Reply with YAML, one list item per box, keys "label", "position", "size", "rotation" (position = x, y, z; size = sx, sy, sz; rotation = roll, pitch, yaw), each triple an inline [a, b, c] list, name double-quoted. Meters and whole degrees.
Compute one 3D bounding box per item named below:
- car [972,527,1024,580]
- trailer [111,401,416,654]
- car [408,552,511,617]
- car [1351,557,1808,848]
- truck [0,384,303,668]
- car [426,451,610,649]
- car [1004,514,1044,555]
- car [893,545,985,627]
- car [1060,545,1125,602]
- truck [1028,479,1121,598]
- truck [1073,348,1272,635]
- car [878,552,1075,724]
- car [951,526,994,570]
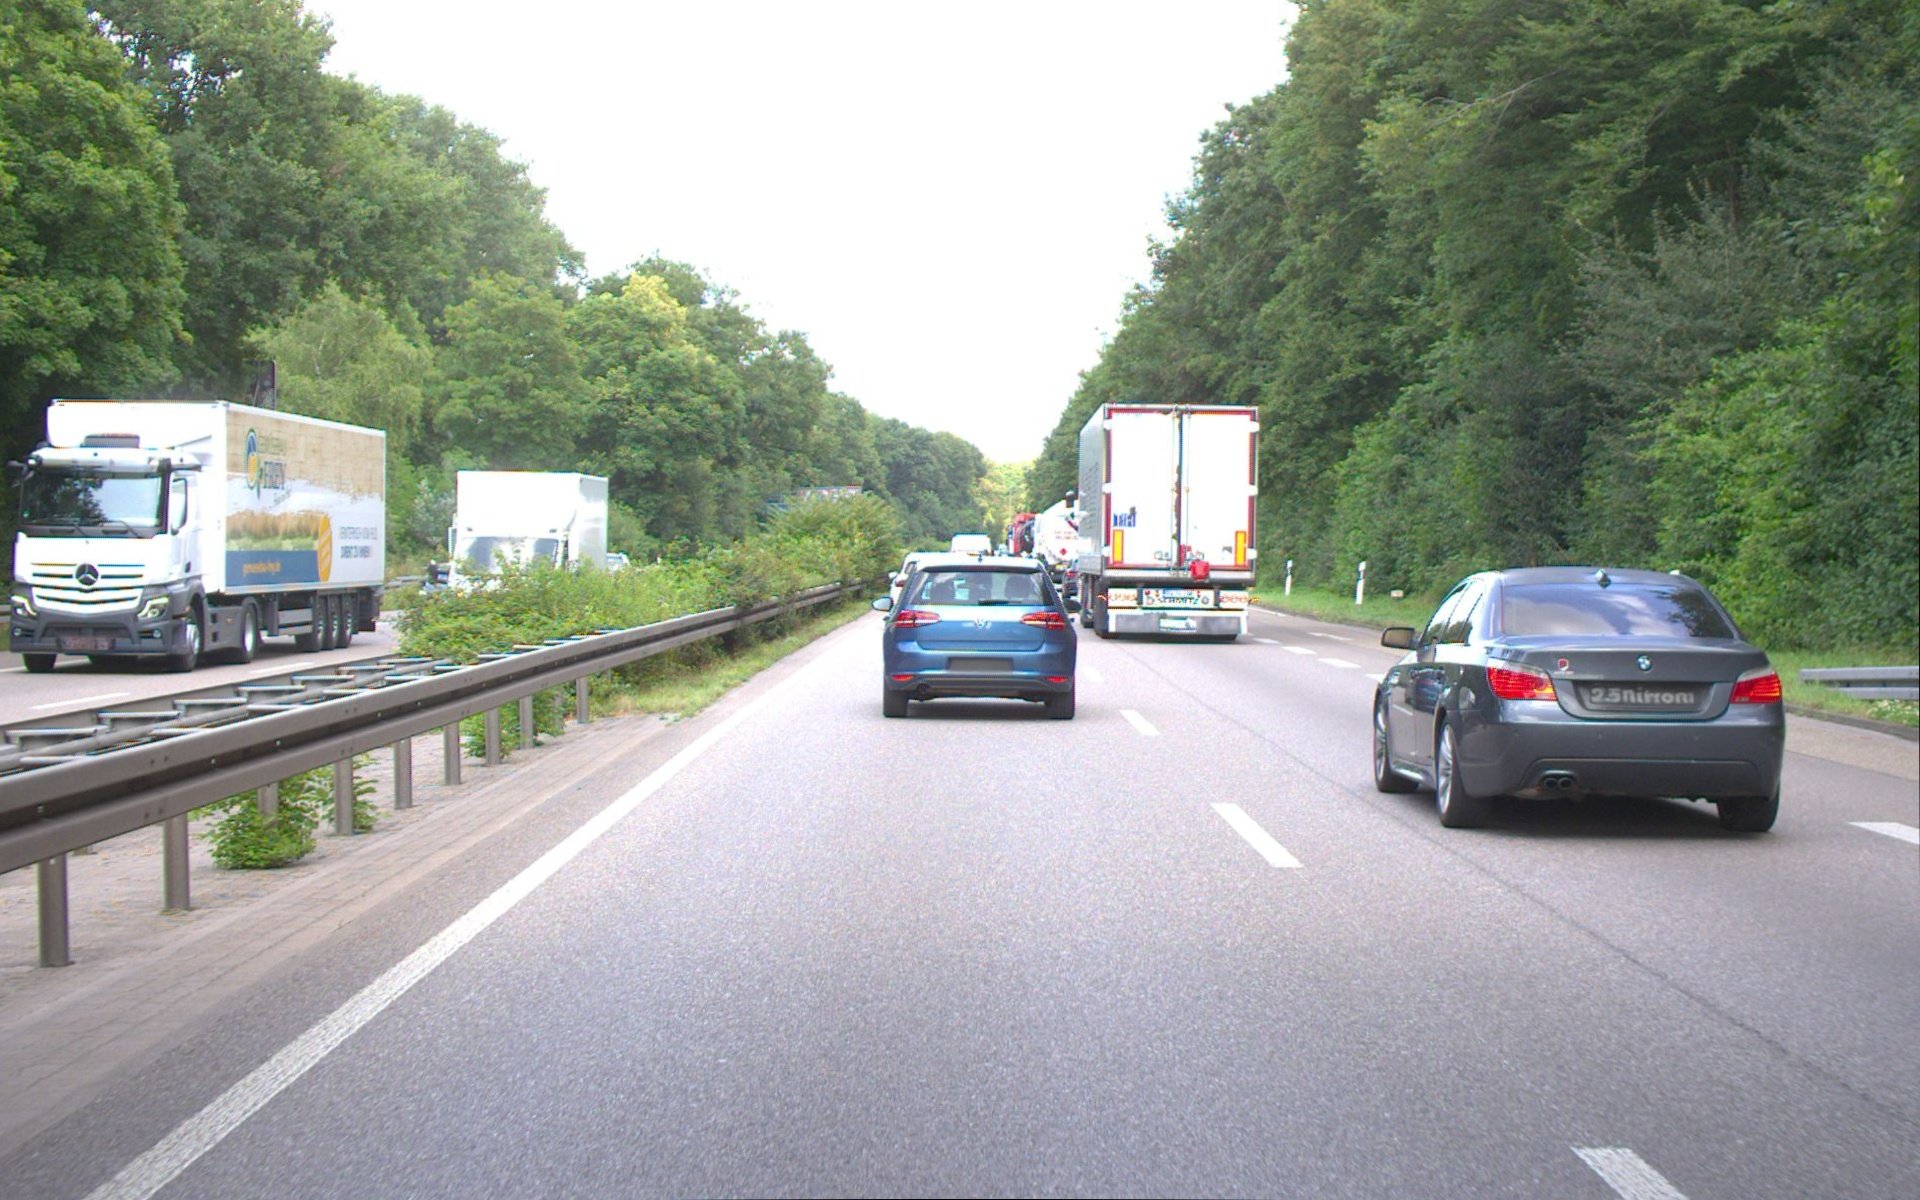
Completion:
- label: "car"
  position: [1.459, -1.831, 134.069]
  size: [1.954, 2.007, 4.000]
  rotation: [-1, 1, 0]
- label: "trailer"
  position: [-11.945, -1.186, 60.022]
  size: [3.060, 4.028, 9.973]
  rotation: [1, 0, 1]
- label: "car"
  position: [-11.849, -0.397, 81.591]
  size: [1.734, 1.468, 4.470]
  rotation: [-1, 1, 0]
- label: "car"
  position: [3.498, 0.503, 20.319]
  size: [1.774, 1.470, 4.880]
  rotation: [1, 1, 0]
- label: "truck"
  position: [-12.102, -1.094, 51.709]
  size: [3.040, 3.973, 6.748]
  rotation: [1, 1, 1]
- label: "car"
  position: [-7.626, -0.875, 60.047]
  size: [2.288, 3.221, 7.287]
  rotation: [-1, 1, 0]
- label: "car"
  position: [3.661, -3.758, 197.240]
  size: [1.993, 2.319, 4.442]
  rotation: [0, 1, -2]
- label: "car"
  position: [-0.372, -0.290, 65.732]
  size: [1.665, 1.495, 4.152]
  rotation: [1, 1, 1]
- label: "car"
  position: [4.121, -0.835, 107.468]
  size: [1.888, 1.723, 4.000]
  rotation: [-1, 1, 1]
- label: "truck"
  position: [4.372, -2.320, 133.964]
  size: [3.232, 4.371, 12.970]
  rotation: [1, 0, 0]
- label: "truck"
  position: [3.766, -1.892, 62.172]
  size: [3.242, 4.700, 11.006]
  rotation: [0, 1, 3]
- label: "car"
  position: [0.141, 0.303, 32.078]
  size: [1.705, 1.465, 4.000]
  rotation: [1, 1, 0]
- label: "car"
  position: [0.628, -2.686, 177.017]
  size: [1.993, 2.247, 4.442]
  rotation: [-1, 1, -2]
